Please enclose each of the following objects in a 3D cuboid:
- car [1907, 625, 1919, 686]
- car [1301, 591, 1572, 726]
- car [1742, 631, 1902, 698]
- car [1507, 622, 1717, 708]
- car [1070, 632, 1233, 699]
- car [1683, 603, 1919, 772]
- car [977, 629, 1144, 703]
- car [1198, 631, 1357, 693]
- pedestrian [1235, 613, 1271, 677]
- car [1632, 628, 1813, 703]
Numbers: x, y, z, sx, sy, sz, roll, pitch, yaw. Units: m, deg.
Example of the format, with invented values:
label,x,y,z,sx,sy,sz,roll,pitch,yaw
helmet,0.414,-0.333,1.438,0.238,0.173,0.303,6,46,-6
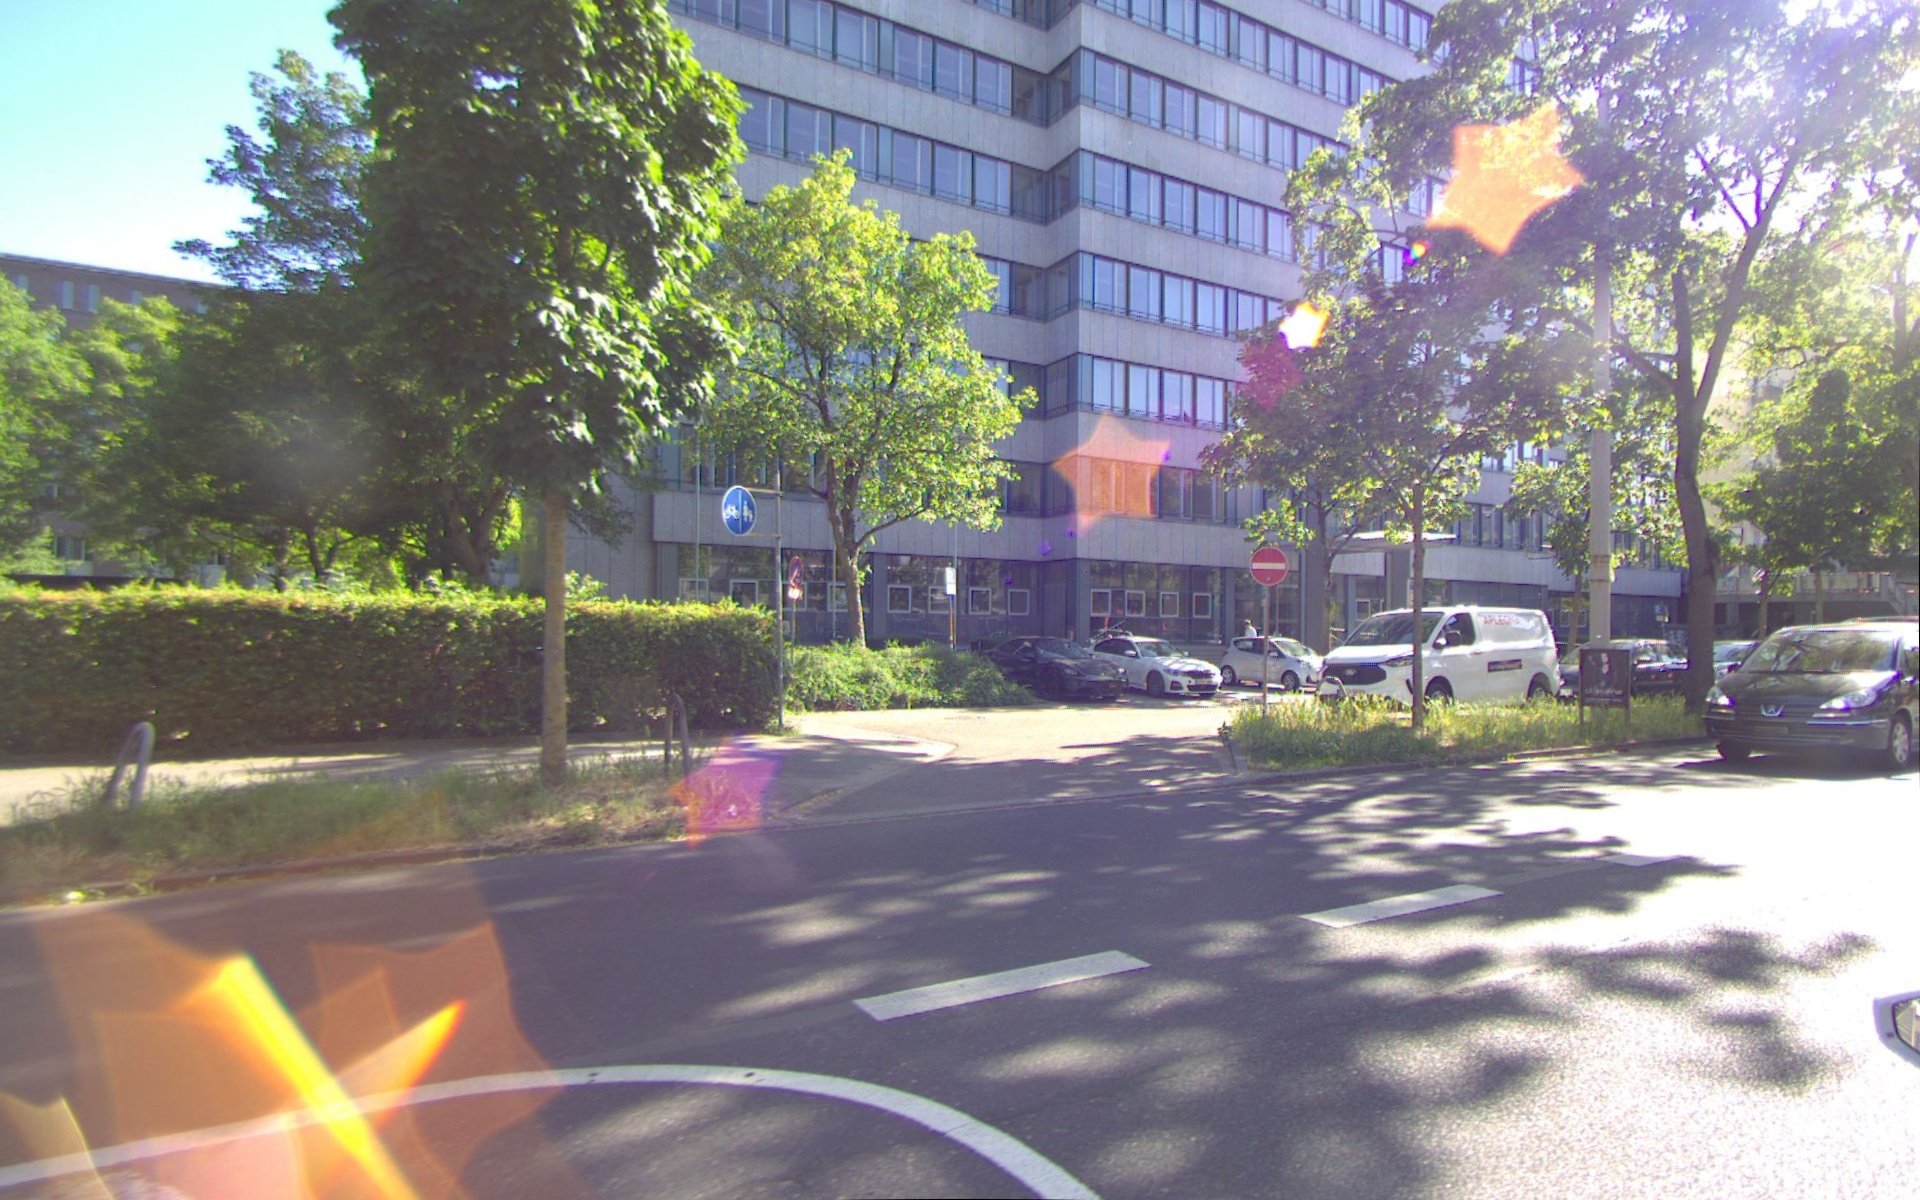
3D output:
label,x,y,z,sx,sy,sz,roll,pitch,yaw
car,31.558,1.760,31.296,4.510,1.874,1.846,2,0,-31
car,8.592,1.029,17.959,5.141,2.103,1.970,2,-3,-33
car,22.179,1.629,25.823,4.014,1.543,1.848,2,0,-29
car,13.301,1.284,20.452,4.265,1.543,1.774,2,0,-29
car,4.915,1.656,26.463,1.911,1.462,4.600,2,-1,-24
car,11.500,1.057,13.004,4.558,1.849,1.846,2,-3,-32
car,2.332,1.532,24.695,1.982,1.533,4.656,1,-1,-25
car,9.244,1.765,29.573,1.841,1.543,4.280,2,-1,-32
pedestrian,10.027,1.541,34.358,0.782,2.121,0.768,2,0,-28
car,17.606,1.472,23.149,4.269,1.543,1.846,2,0,-31
